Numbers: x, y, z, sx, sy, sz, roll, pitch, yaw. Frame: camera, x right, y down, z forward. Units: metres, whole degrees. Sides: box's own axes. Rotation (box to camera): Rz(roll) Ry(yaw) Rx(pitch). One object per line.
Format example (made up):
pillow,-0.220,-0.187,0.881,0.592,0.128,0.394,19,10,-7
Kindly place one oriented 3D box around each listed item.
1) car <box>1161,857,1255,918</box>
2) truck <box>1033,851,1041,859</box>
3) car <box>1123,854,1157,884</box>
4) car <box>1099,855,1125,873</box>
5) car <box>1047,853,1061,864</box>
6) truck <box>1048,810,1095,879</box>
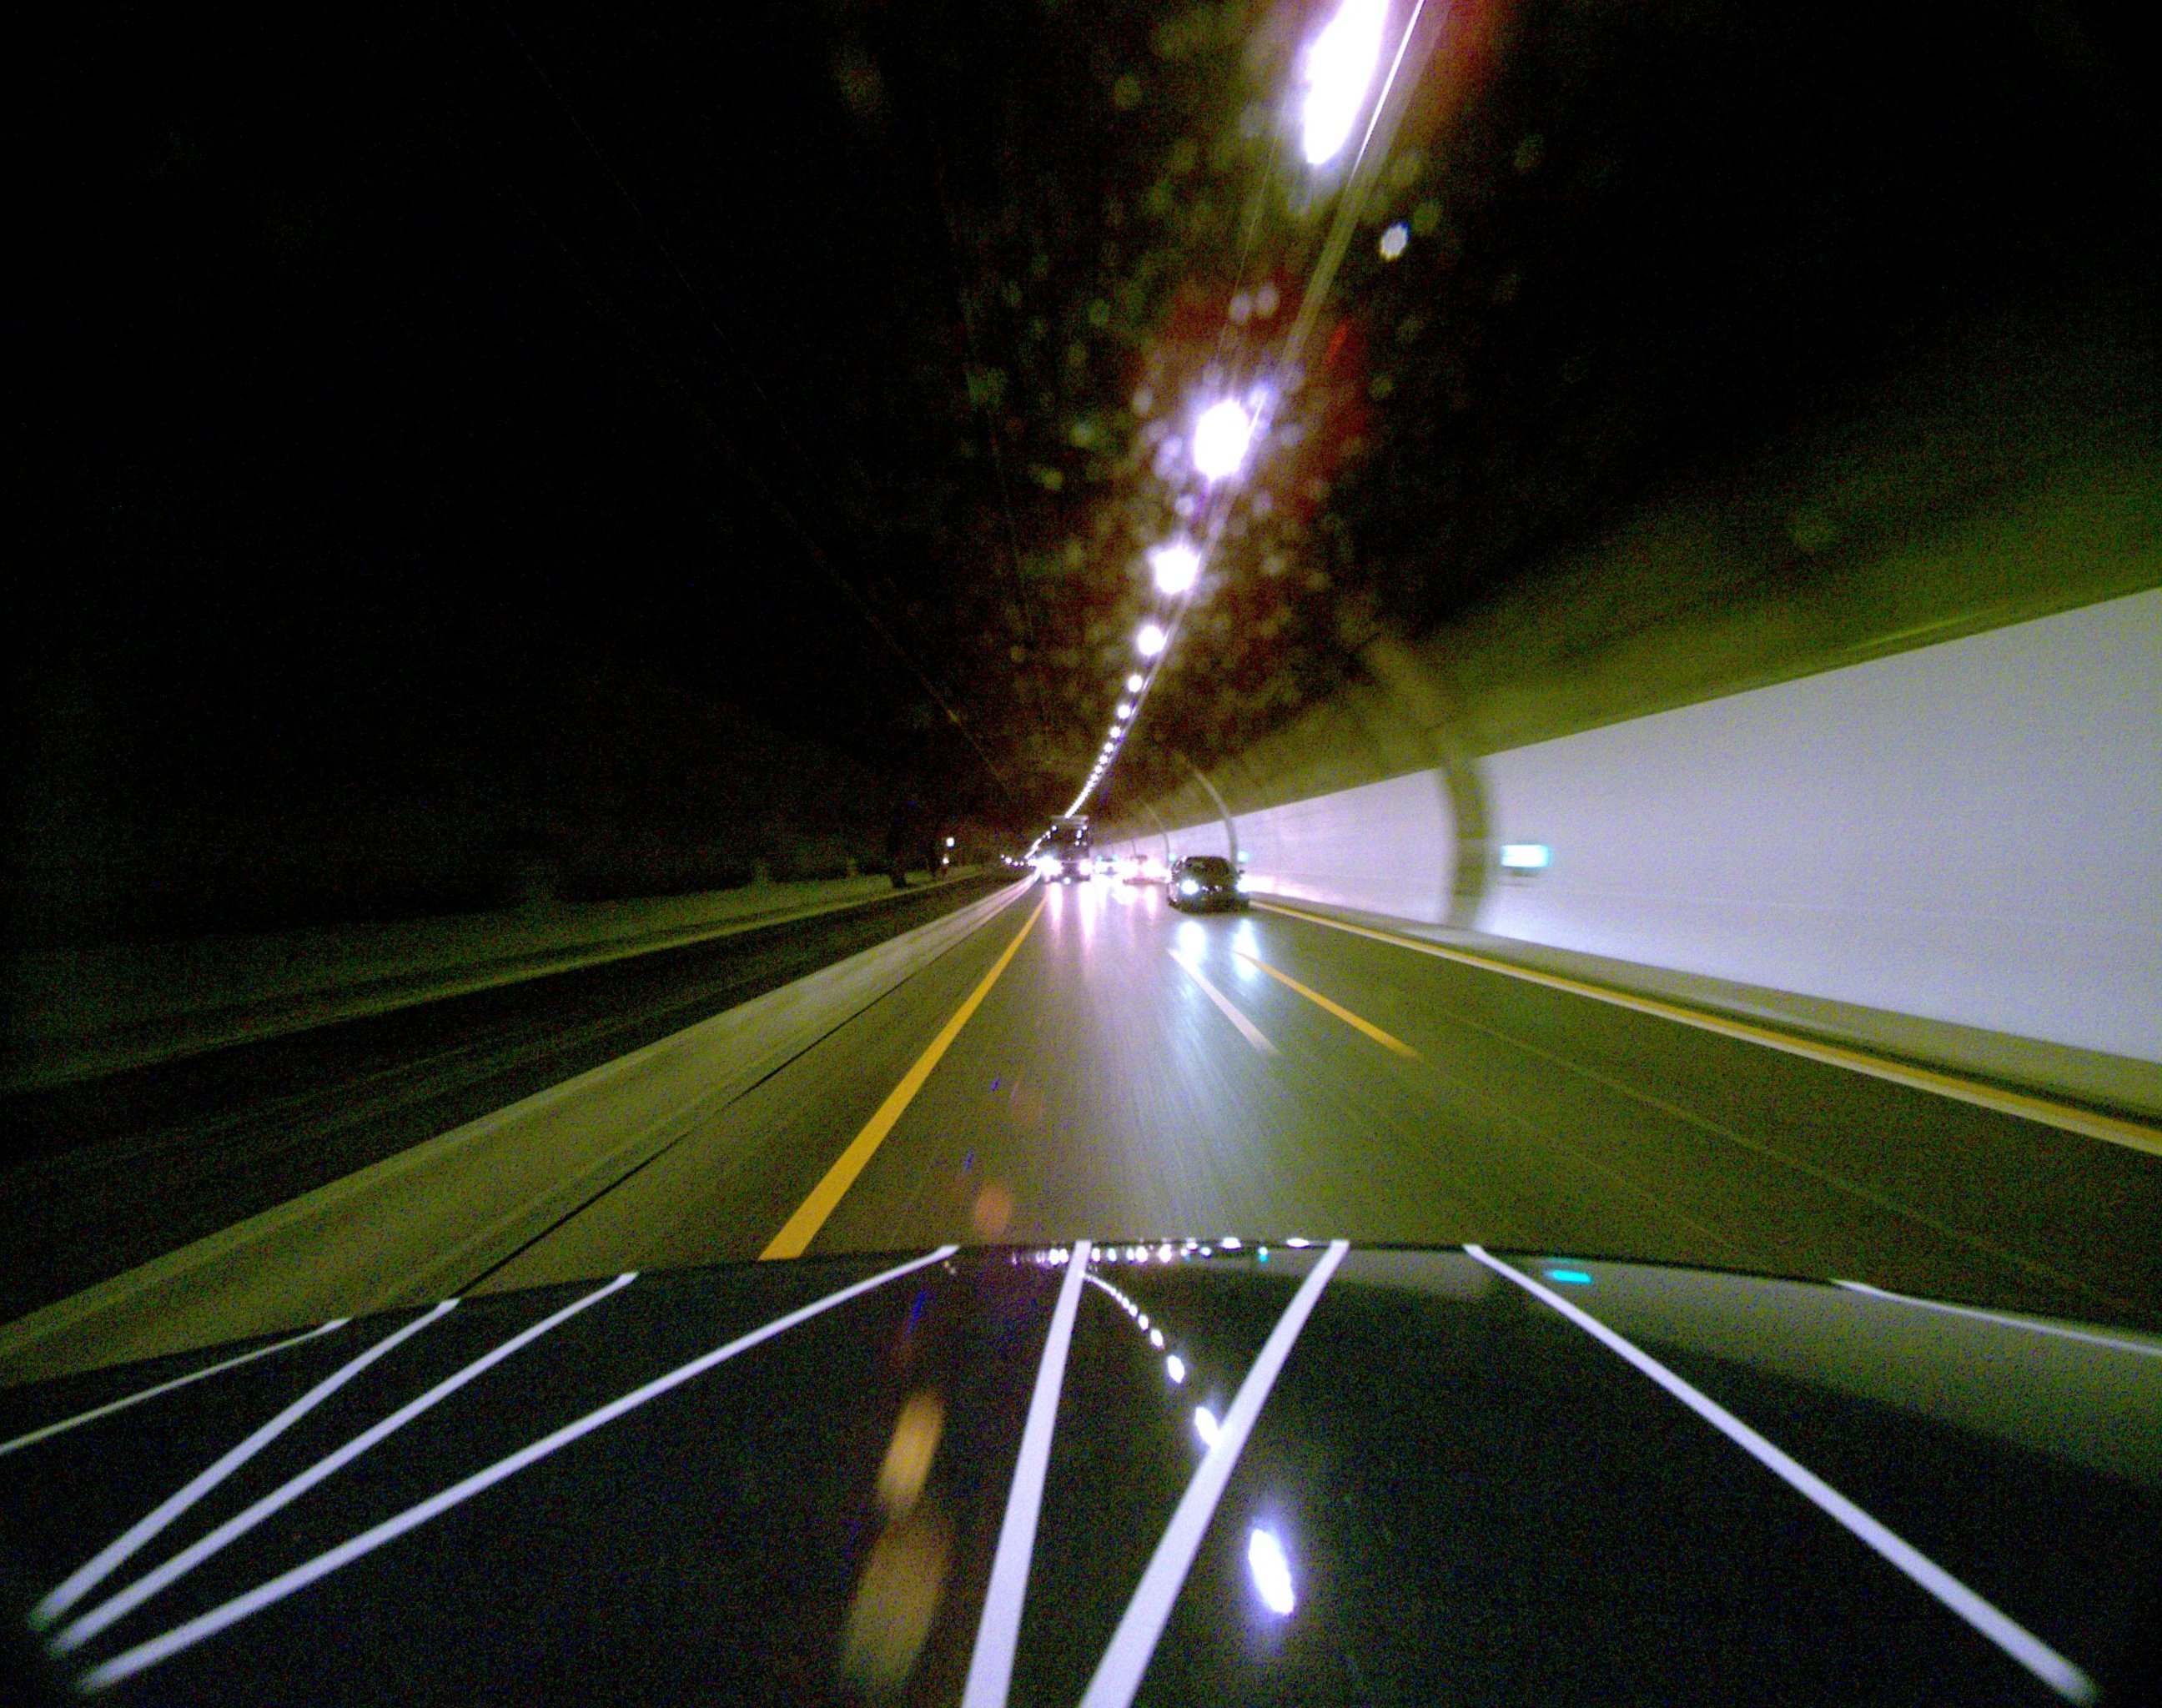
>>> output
car,3.427,0.849,21.409,1.782,1.430,4.882,-2,0,0
truck,-14.391,0.291,250.462,2.610,2.723,6.395,-2,0,-3
car,3.126,0.776,40.681,1.531,1.508,2.651,-1,0,0
car,2.611,0.808,64.354,1.909,1.412,4.060,-1,0,-2
car,-4.197,0.707,117.810,1.999,1.524,3.999,-2,0,-2
truck,-0.741,-0.580,50.295,2.742,4.127,8.098,-1,0,-3
